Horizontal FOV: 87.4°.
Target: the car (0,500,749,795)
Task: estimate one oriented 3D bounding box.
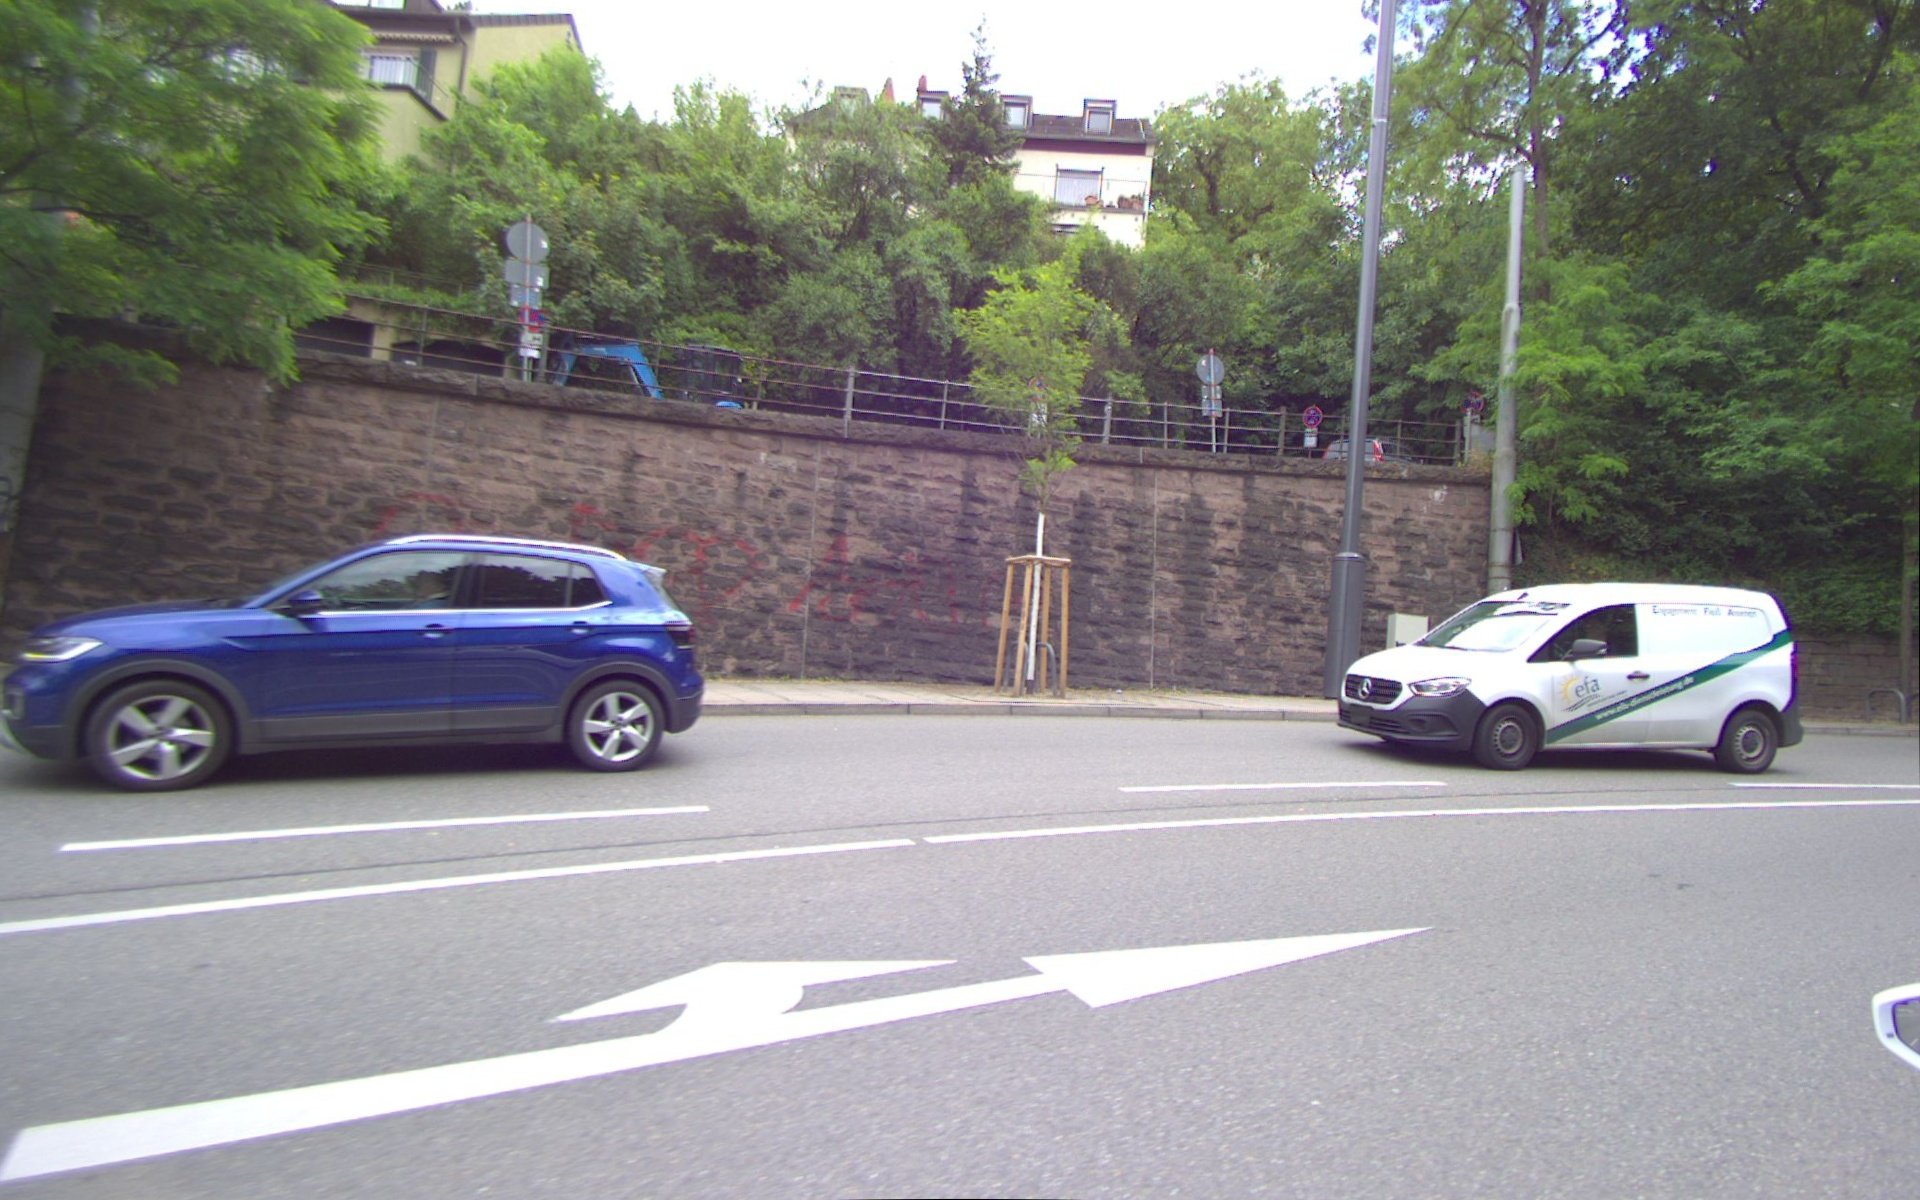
[{"bbox_3d":[-3.785,0.316,7.015,4.153,1.548,1.717,3,1,-31],"label":"car"}]

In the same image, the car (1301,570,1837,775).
[{"bbox_3d":[6.119,0.700,10.321,4.587,1.787,1.824,2,1,-10],"label":"car"}]

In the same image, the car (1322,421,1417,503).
[{"bbox_3d":[10.546,-3.475,25.741,1.653,1.397,3.729,4,-1,31],"label":"car"}]

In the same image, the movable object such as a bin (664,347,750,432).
[{"bbox_3d":[-5.386,-4.432,21.340,1.581,1.373,1.246,2,-2,-22],"label":"movable object such as a bin"}]
